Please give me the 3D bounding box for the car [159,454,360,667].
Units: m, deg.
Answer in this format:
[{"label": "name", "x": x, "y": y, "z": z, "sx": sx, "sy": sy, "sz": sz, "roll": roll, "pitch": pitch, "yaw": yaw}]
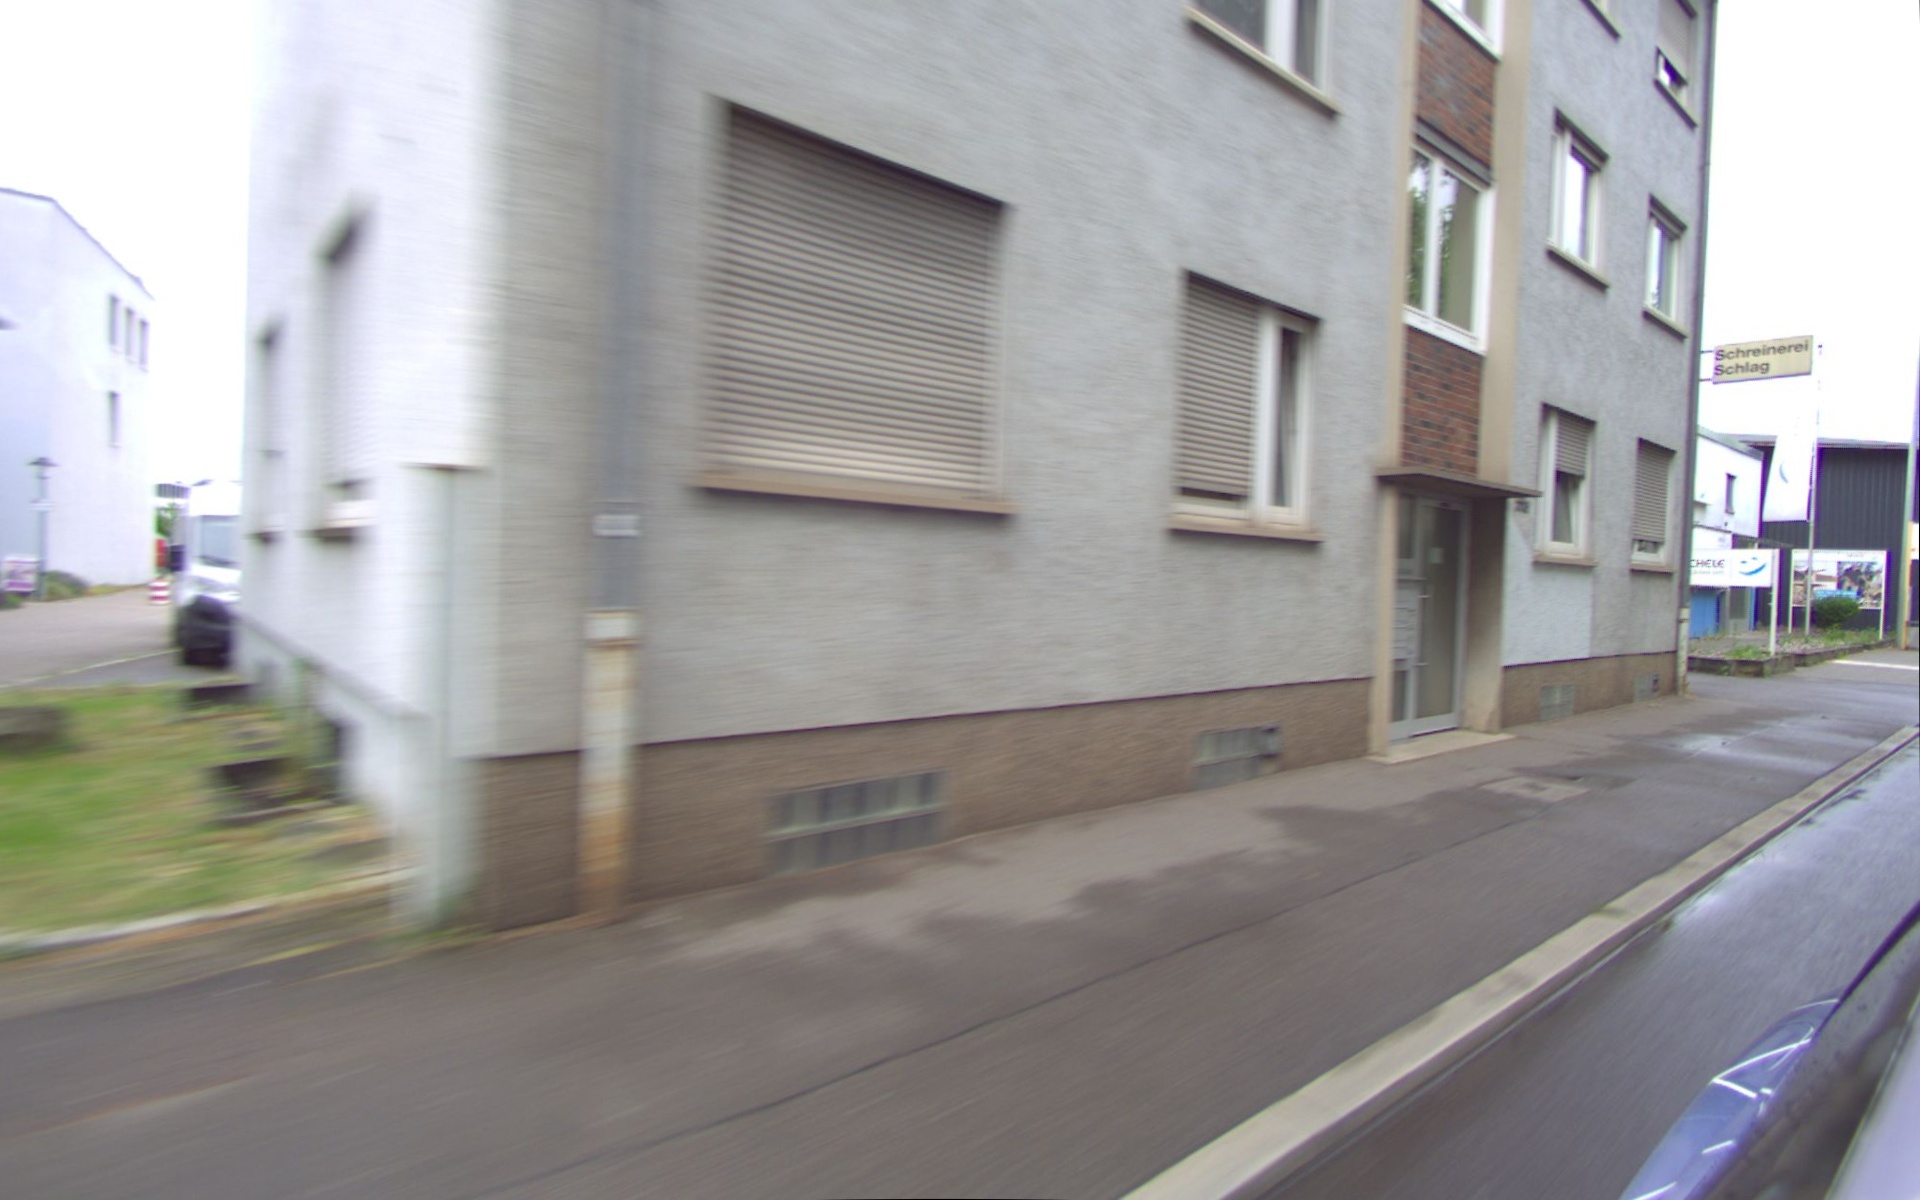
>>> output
[{"label": "car", "x": -10.608, "y": -0.572, "z": 15.135, "sx": 2.029, "sy": 2.627, "sz": 5.274, "roll": -1, "pitch": 2, "yaw": -40}]
